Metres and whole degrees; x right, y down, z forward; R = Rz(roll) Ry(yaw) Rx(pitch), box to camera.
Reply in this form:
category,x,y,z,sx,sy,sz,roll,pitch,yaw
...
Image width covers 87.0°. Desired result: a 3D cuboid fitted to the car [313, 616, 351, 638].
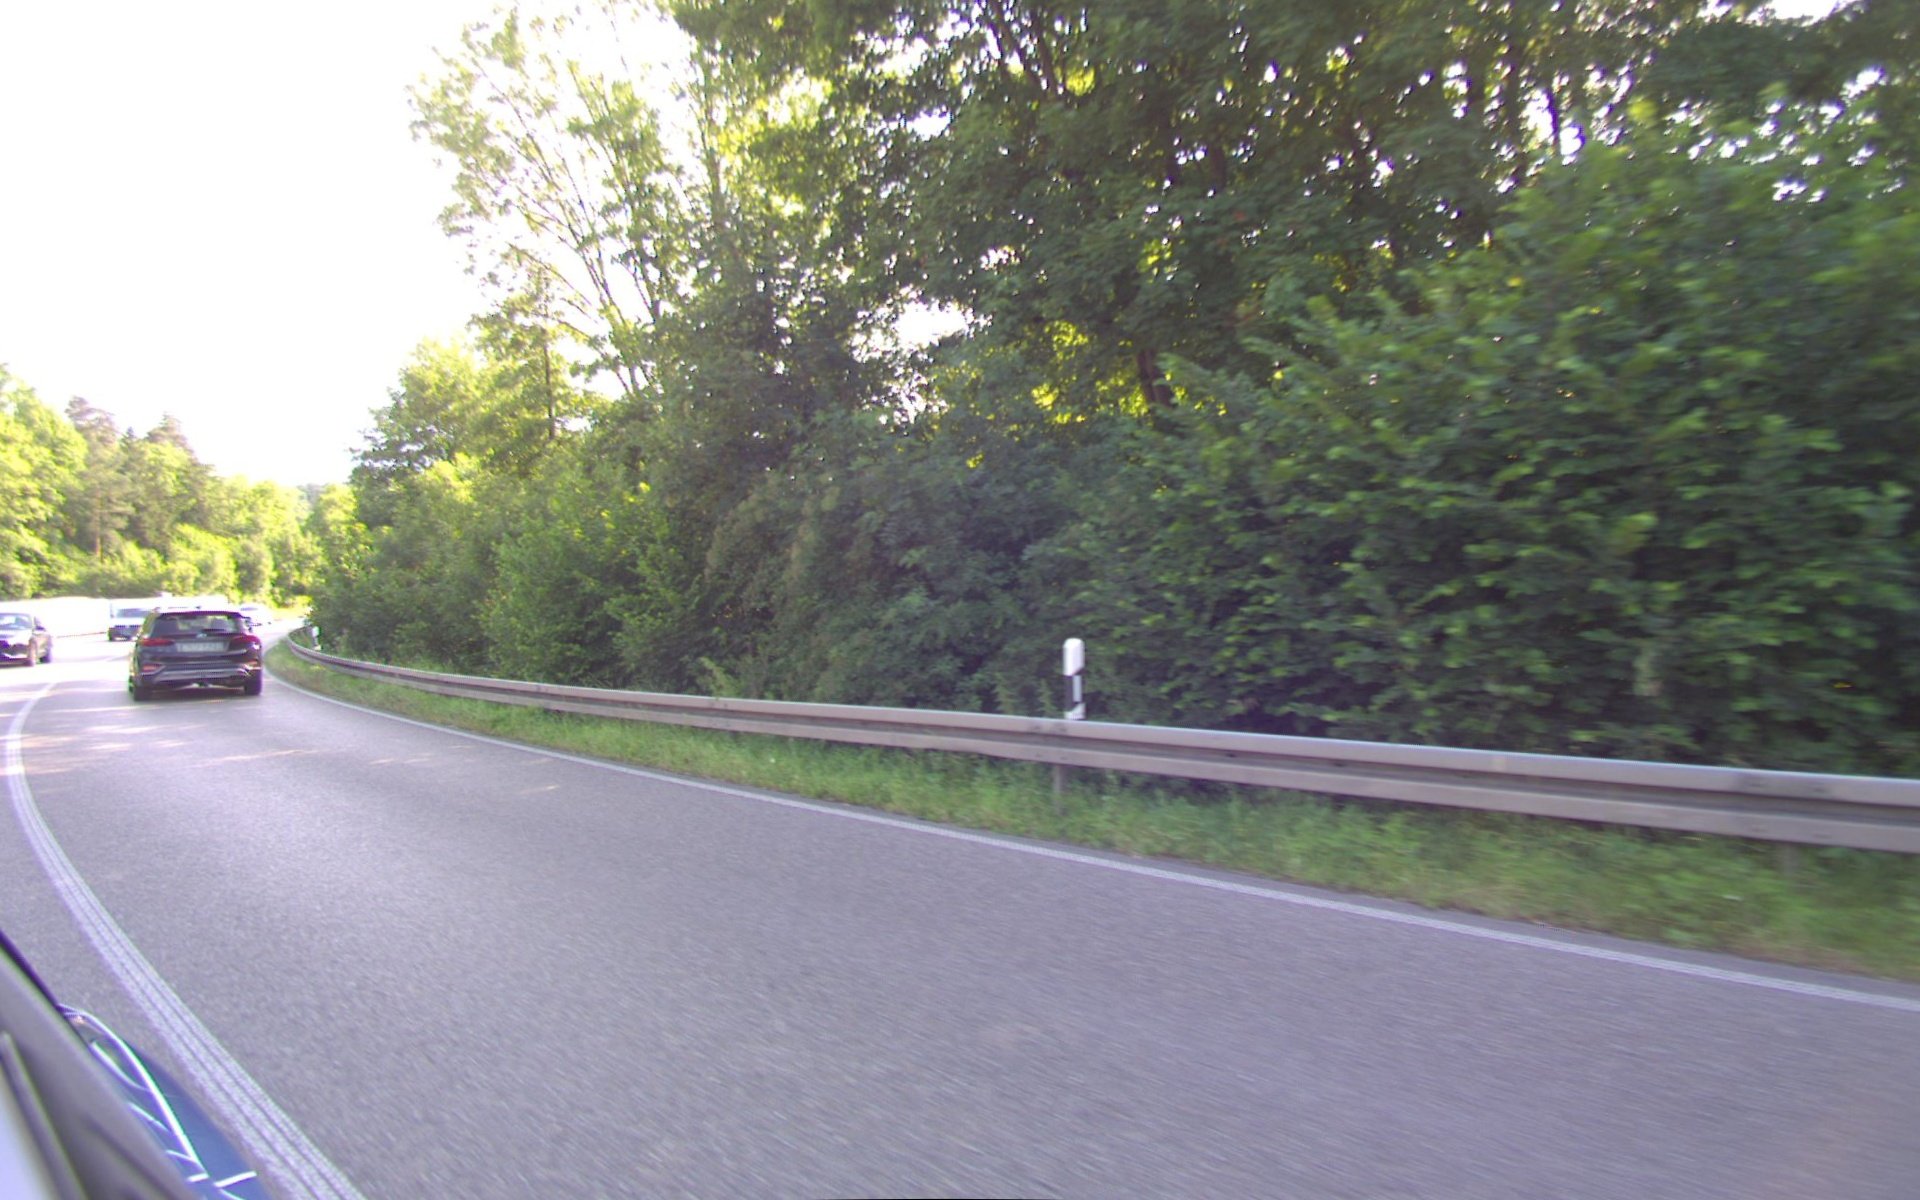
category,x,y,z,sx,sy,sz,roll,pitch,yaw
car,-49.085,2.104,79.193,1.841,1.601,4.262,0,-1,-22

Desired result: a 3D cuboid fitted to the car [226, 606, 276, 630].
category,x,y,z,sx,sy,sz,roll,pitch,yaw
car,-50.192,1.251,71.775,1.865,1.456,4.491,-4,2,-22

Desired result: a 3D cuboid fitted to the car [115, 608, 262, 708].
category,x,y,z,sx,sy,sz,roll,pitch,yaw
car,-14.799,1.039,19.305,1.845,1.665,4.554,0,-2,-42

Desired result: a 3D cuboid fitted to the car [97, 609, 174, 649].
category,x,y,z,sx,sy,sz,roll,pitch,yaw
car,-40.354,1.371,49.631,1.837,1.733,4.779,-3,1,-26

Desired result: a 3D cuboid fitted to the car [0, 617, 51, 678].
category,x,y,z,sx,sy,sz,roll,pitch,yaw
car,-27.812,1.341,29.097,1.819,1.581,4.269,-1,0,-33

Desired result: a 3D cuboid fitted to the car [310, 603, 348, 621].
category,x,y,z,sx,sy,sz,roll,pitch,yaw
car,-57.882,1.078,92.920,1.829,1.431,4.433,-4,2,-18
